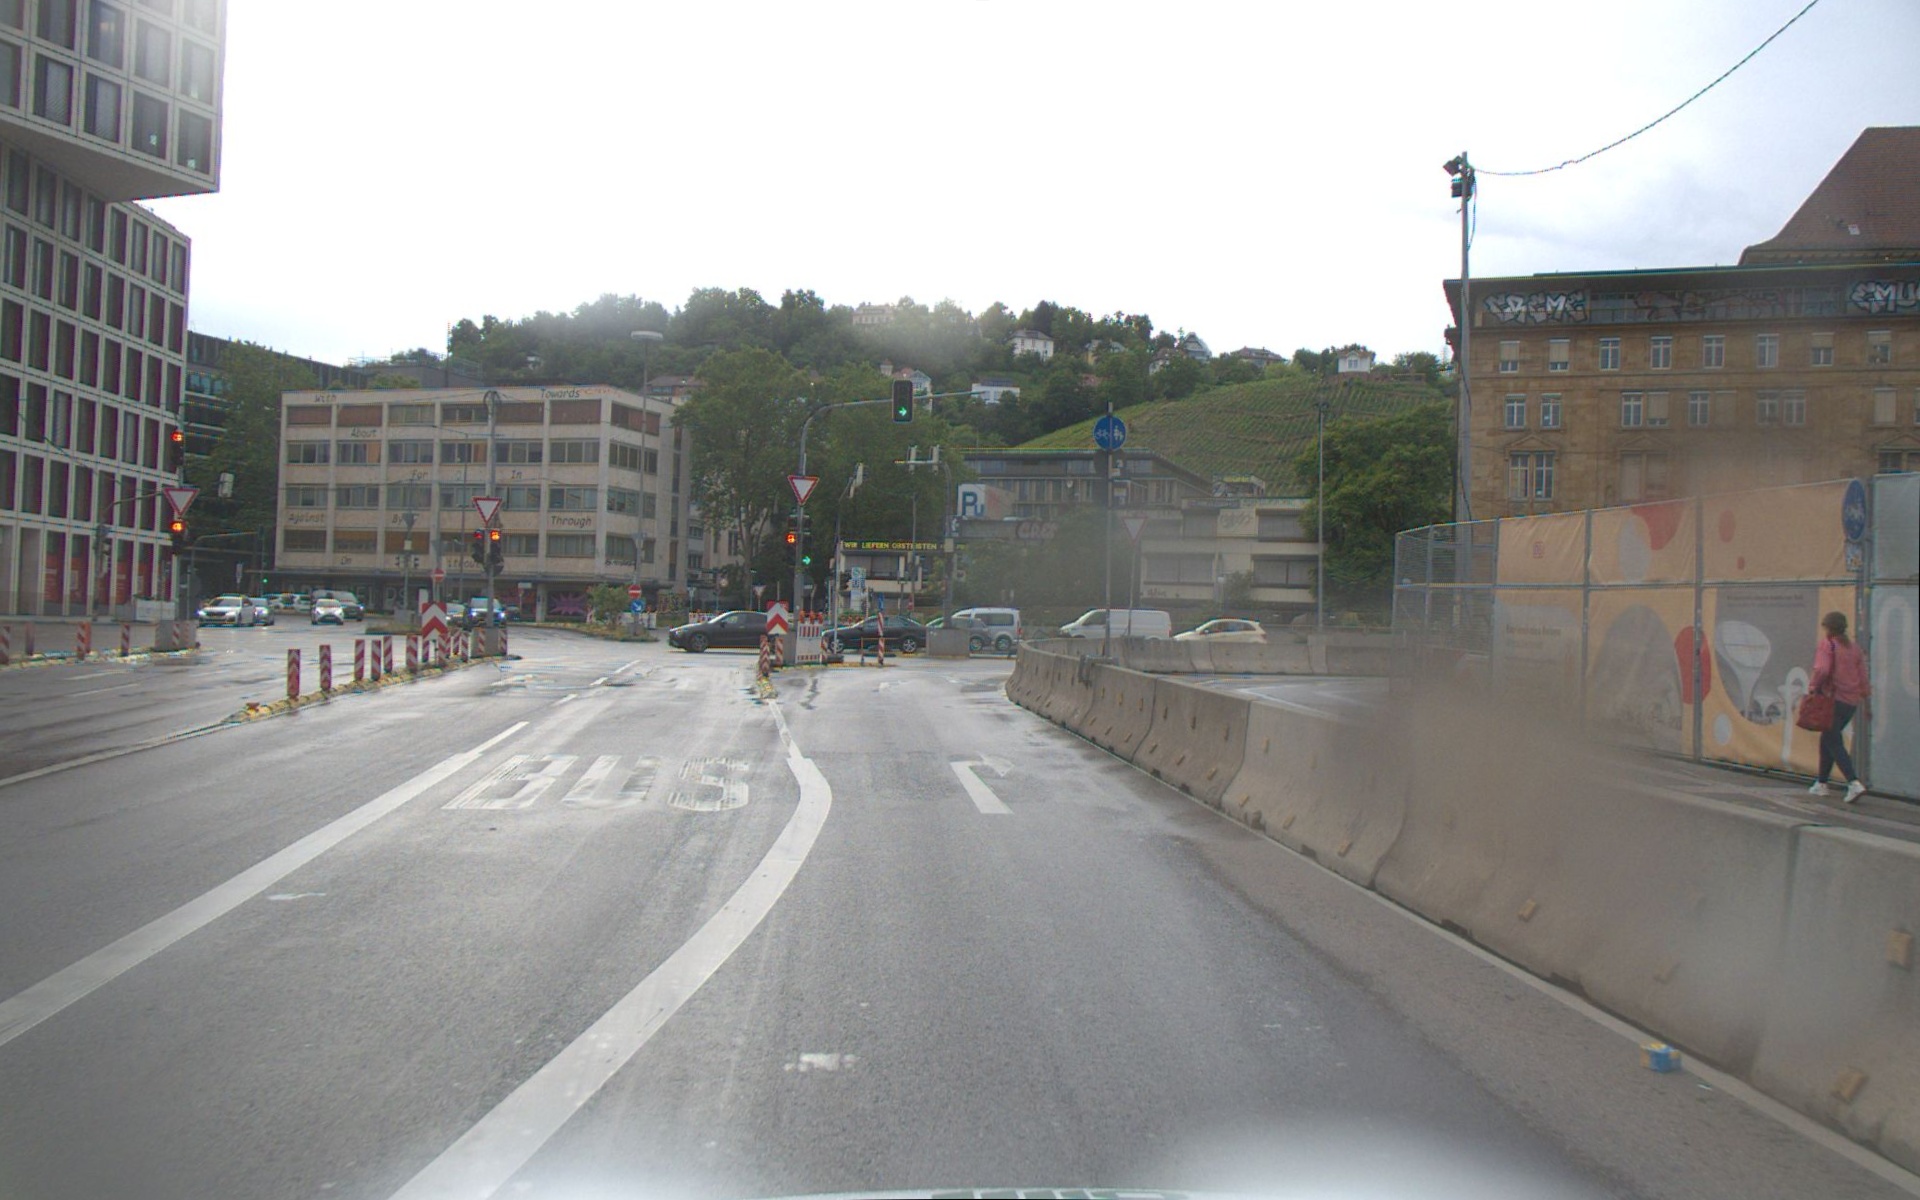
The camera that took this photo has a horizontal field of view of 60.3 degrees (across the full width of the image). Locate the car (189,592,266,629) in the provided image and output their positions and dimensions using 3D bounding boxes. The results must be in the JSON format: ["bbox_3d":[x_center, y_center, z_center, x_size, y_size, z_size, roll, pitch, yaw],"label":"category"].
[{"bbox_3d":[-36.433,0.536,82.444,2.180,1.784,4.804,1,-1,-8],"label":"car"}]

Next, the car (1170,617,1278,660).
[{"bbox_3d":[11.279,1.648,70.837,4.279,1.703,1.847,2,-1,-4],"label":"car"}]

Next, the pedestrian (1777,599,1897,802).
[{"bbox_3d":[8.409,0.947,15.879,0.706,1.899,0.708,2,-1,-8],"label":"pedestrian"}]

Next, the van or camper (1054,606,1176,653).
[{"bbox_3d":[6.870,1.312,73.554,5.098,1.927,1.884,2,-1,-9],"label":"van or camper"}]

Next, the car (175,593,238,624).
[{"bbox_3d":[-47.885,0.561,105.097,3.916,1.847,1.800,2,0,33],"label":"car"}]

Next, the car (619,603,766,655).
[{"bbox_3d":[-9.086,0.988,56.229,4.584,1.626,2.004,2,-1,-23],"label":"car"}]

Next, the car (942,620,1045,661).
[{"bbox_3d":[1.406,1.699,69.853,4.089,1.626,1.847,2,-1,-9],"label":"car"}]

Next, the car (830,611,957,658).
[{"bbox_3d":[-2.505,1.277,61.670,4.561,1.626,2.014,2,-1,-8],"label":"car"}]

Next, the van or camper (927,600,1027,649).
[{"bbox_3d":[0.730,1.076,72.876,4.163,2.013,1.847,2,-1,-9],"label":"van or camper"}]

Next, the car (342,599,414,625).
[{"bbox_3d":[-37.025,0.767,105.280,3.902,1.584,1.892,1,-1,10],"label":"car"}]

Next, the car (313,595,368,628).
[{"bbox_3d":[-35.927,0.673,96.011,1.763,1.847,3.999,2,0,-1],"label":"car"}]

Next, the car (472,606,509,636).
[{"bbox_3d":[-24.896,1.117,87.837,1.800,1.512,3.984,2,0,-15],"label":"car"}]

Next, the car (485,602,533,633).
[{"bbox_3d":[-31.175,1.203,114.353,1.976,2.049,3.952,2,0,-34],"label":"car"}]
